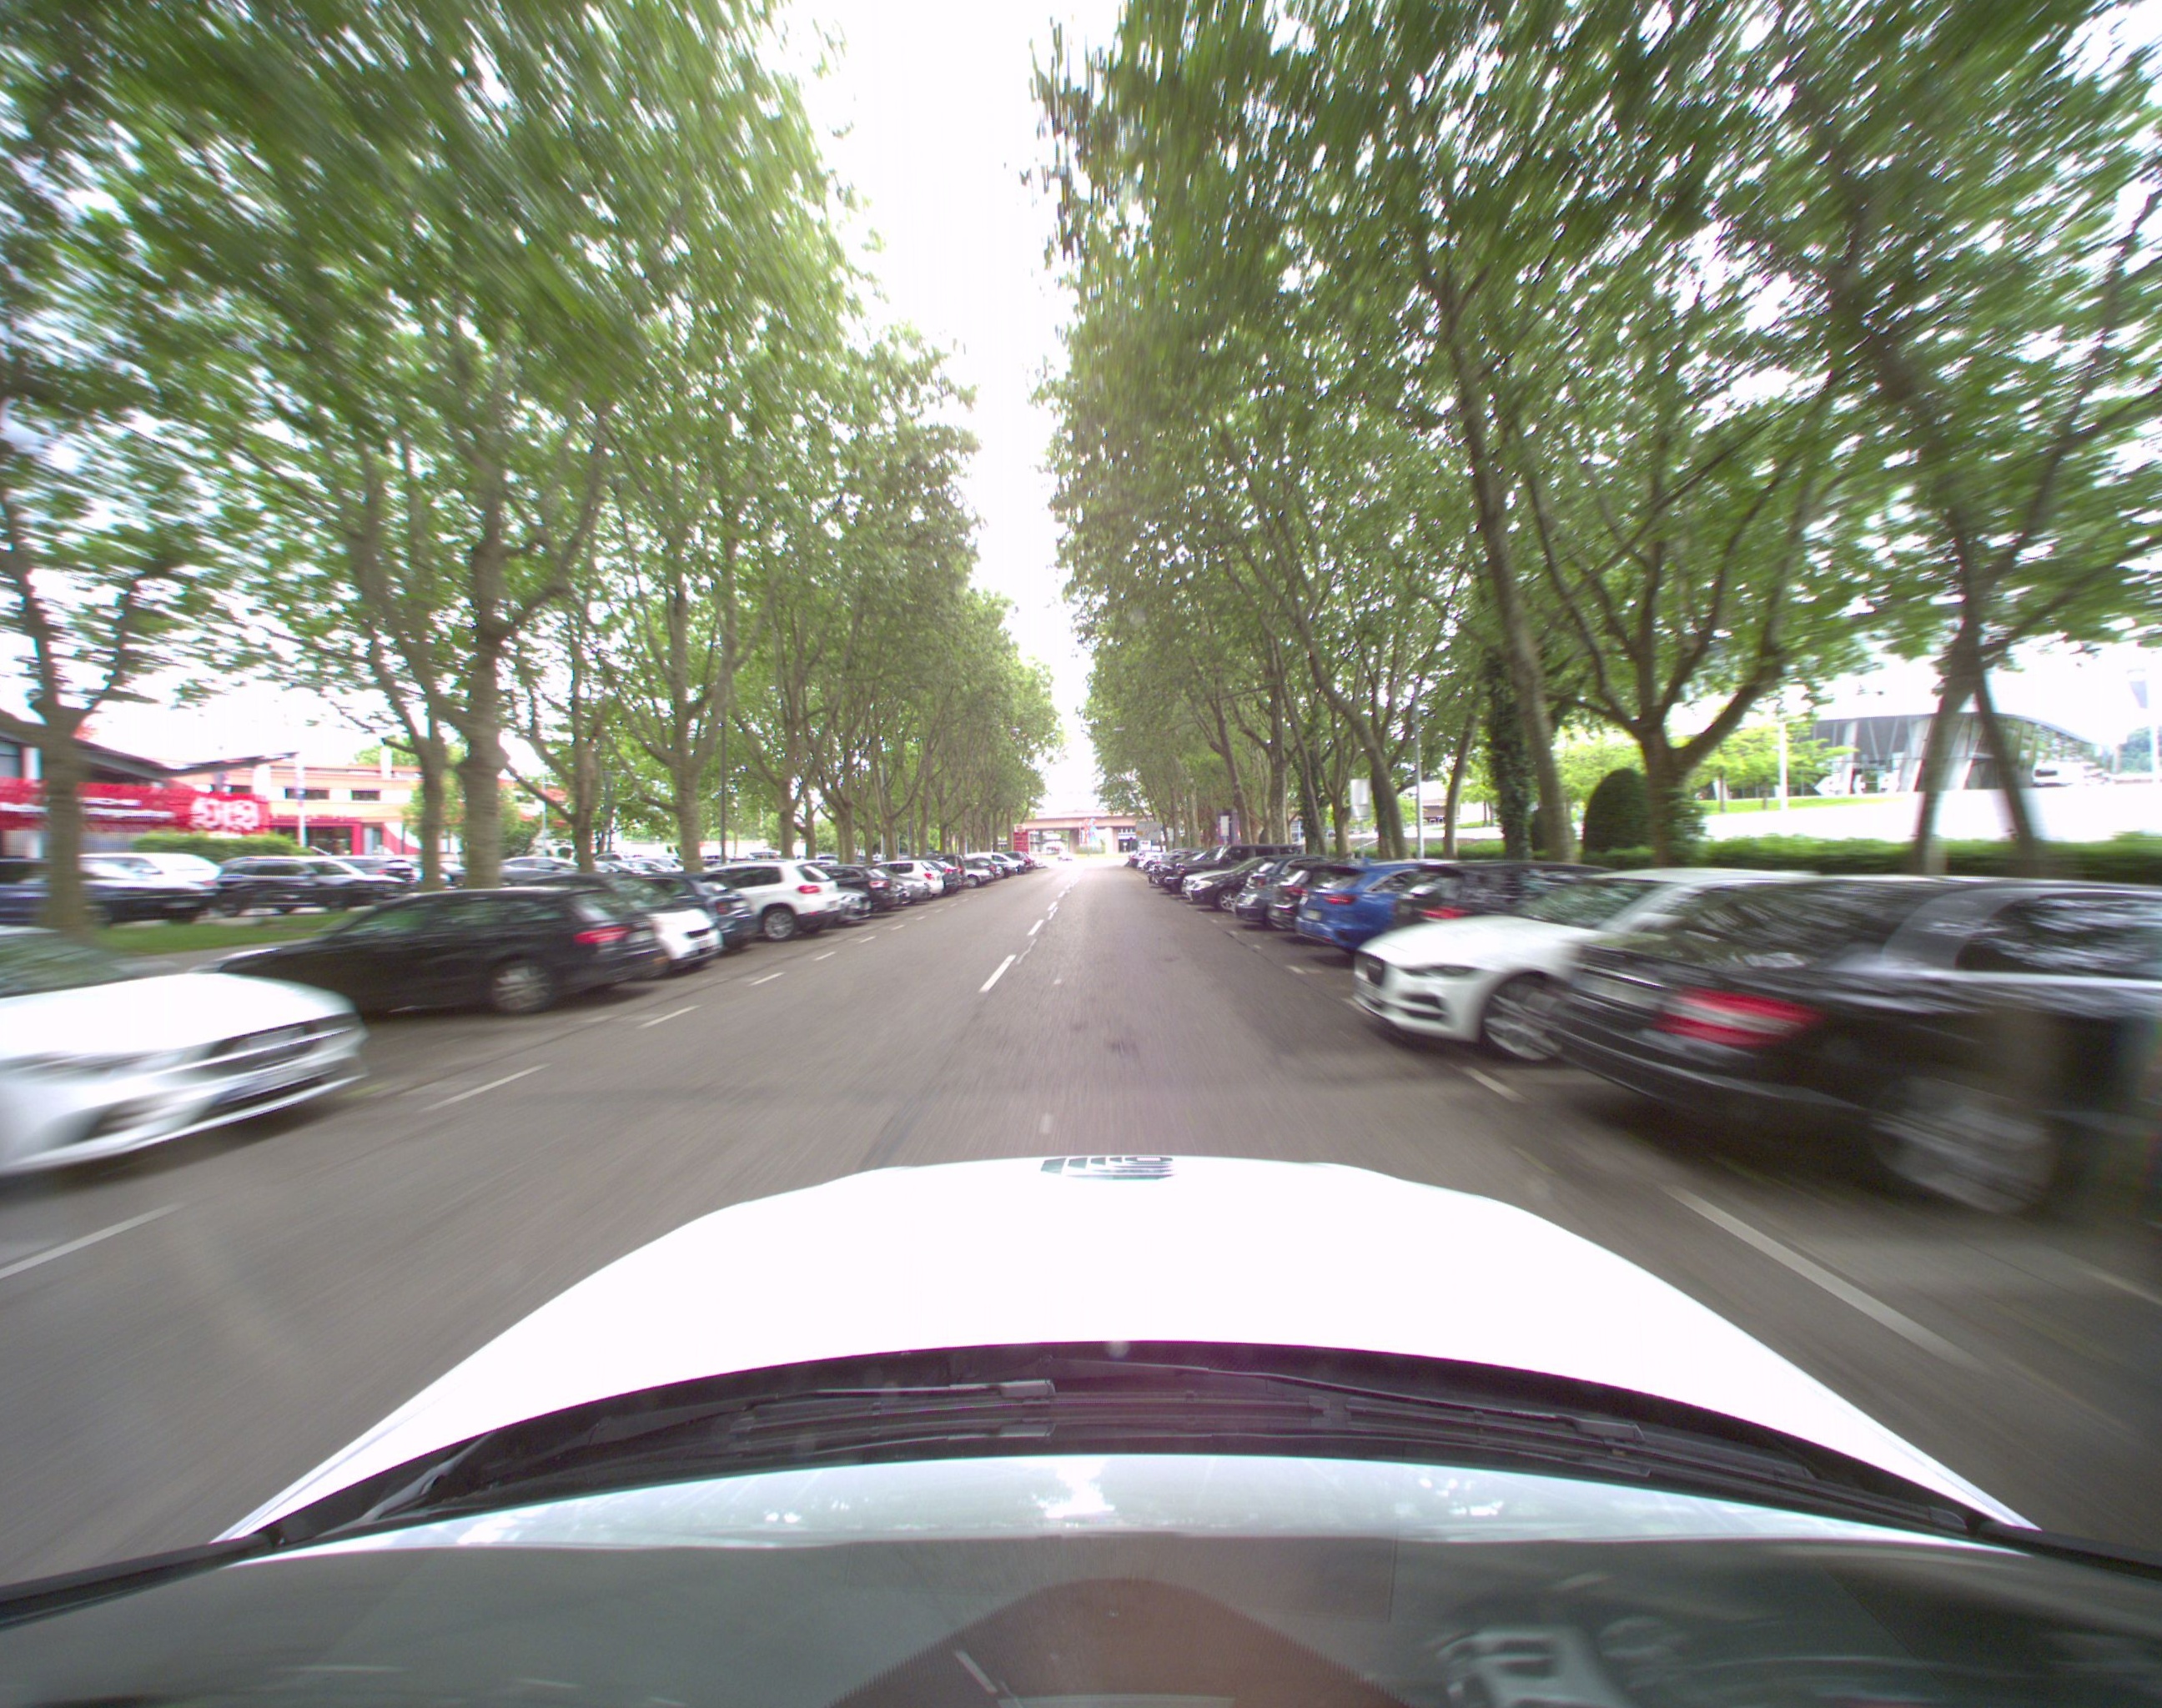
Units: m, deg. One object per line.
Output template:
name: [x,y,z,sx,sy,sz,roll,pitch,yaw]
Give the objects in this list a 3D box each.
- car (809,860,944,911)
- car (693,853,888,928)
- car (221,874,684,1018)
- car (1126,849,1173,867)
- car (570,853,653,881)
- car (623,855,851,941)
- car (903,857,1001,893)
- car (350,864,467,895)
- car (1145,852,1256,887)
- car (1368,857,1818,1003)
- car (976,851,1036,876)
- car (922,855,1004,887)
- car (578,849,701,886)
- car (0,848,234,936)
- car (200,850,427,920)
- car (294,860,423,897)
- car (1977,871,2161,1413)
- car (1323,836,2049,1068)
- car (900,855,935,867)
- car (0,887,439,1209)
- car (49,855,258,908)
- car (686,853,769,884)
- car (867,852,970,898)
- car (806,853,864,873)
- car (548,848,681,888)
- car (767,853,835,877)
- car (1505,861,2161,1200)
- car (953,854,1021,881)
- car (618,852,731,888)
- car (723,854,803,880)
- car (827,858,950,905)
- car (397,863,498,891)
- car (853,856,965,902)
car: [-6.722,1.019,27.048,3.981,1.420,1.703,-3,0,-1]
car: [-6.846,0.832,19.491,3.971,1.682,1.856,0,0,2]
car: [-7.199,0.999,9.725,3.979,1.453,1.853,0,0,-4]
car: [6.422,0.344,76.908,4.330,1.633,1.926,0,1,1]
car: [-32.863,0.889,57.098,4.555,1.855,2.300,0,0,6]
car: [-7.089,0.878,17.069,3.971,1.682,1.856,0,0,2]
car: [-6.234,0.983,39.713,4.449,1.482,1.703,-3,0,-1]
car: [-32.743,1.225,39.737,3.975,1.427,1.999,0,0,-1]
car: [5.019,0.635,34.638,4.478,1.428,1.933,0,0,1]
car: [5.558,0.782,9.247,4.000,1.447,1.785,0,1,1]
car: [-5.705,0.708,62.224,4.302,1.795,2.037,0,0,1]
car: [-6.063,0.873,42.179,3.919,1.398,1.703,-3,0,-1]
car: [-22.060,0.658,40.849,4.928,1.797,2.182,0,0,-2]
car: [-22.364,0.847,18.233,4.540,1.720,1.999,-3,0,-2]
car: [-22.212,0.870,23.727,4.540,1.720,1.999,-3,0,-2]
car: [-33.006,1.090,37.299,3.978,1.625,1.998,0,0,-3]
car: [4.894,0.770,1.794,4.010,1.417,1.908,0,1,-5]
car: [4.544,0.681,6.758,4.507,1.623,2.055,0,1,1]
car: [-20.963,0.848,104.533,3.972,1.522,2.002,0,0,1]
car: [-6.973,1.081,4.957,4.394,1.444,2.047,-3,0,-1]
car: [-33.401,0.967,29.470,4.928,1.797,2.182,0,0,-2]
car: [-22.074,0.881,50.974,4.307,1.861,2.028,0,0,0]
car: [-6.775,0.861,34.290,3.919,1.708,1.752,-3,0,-1]
car: [-21.315,0.799,70.696,4.307,1.709,2.131,0,0,0]
car: [-21.849,0.644,38.311,4.928,1.797,2.182,0,0,-2]
car: [-21.670,0.848,63.190,4.503,1.762,2.296,0,0,0]
car: [4.615,0.768,4.359,3.816,1.417,1.719,0,0,1]
car: [-5.957,0.857,51.886,3.960,1.421,1.757,-3,0,4]
car: [-21.702,0.826,43.635,4.928,1.797,2.182,-1,0,-2]
car: [-21.905,0.863,56.236,4.537,1.725,2.296,0,0,0]
car: [-7.015,0.978,29.885,3.973,1.485,1.706,-3,0,5]
car: [-32.612,1.169,41.969,3.975,1.371,1.506,0,0,-1]
car: [-6.647,0.950,31.824,3.919,1.516,1.728,-3,0,-1]
